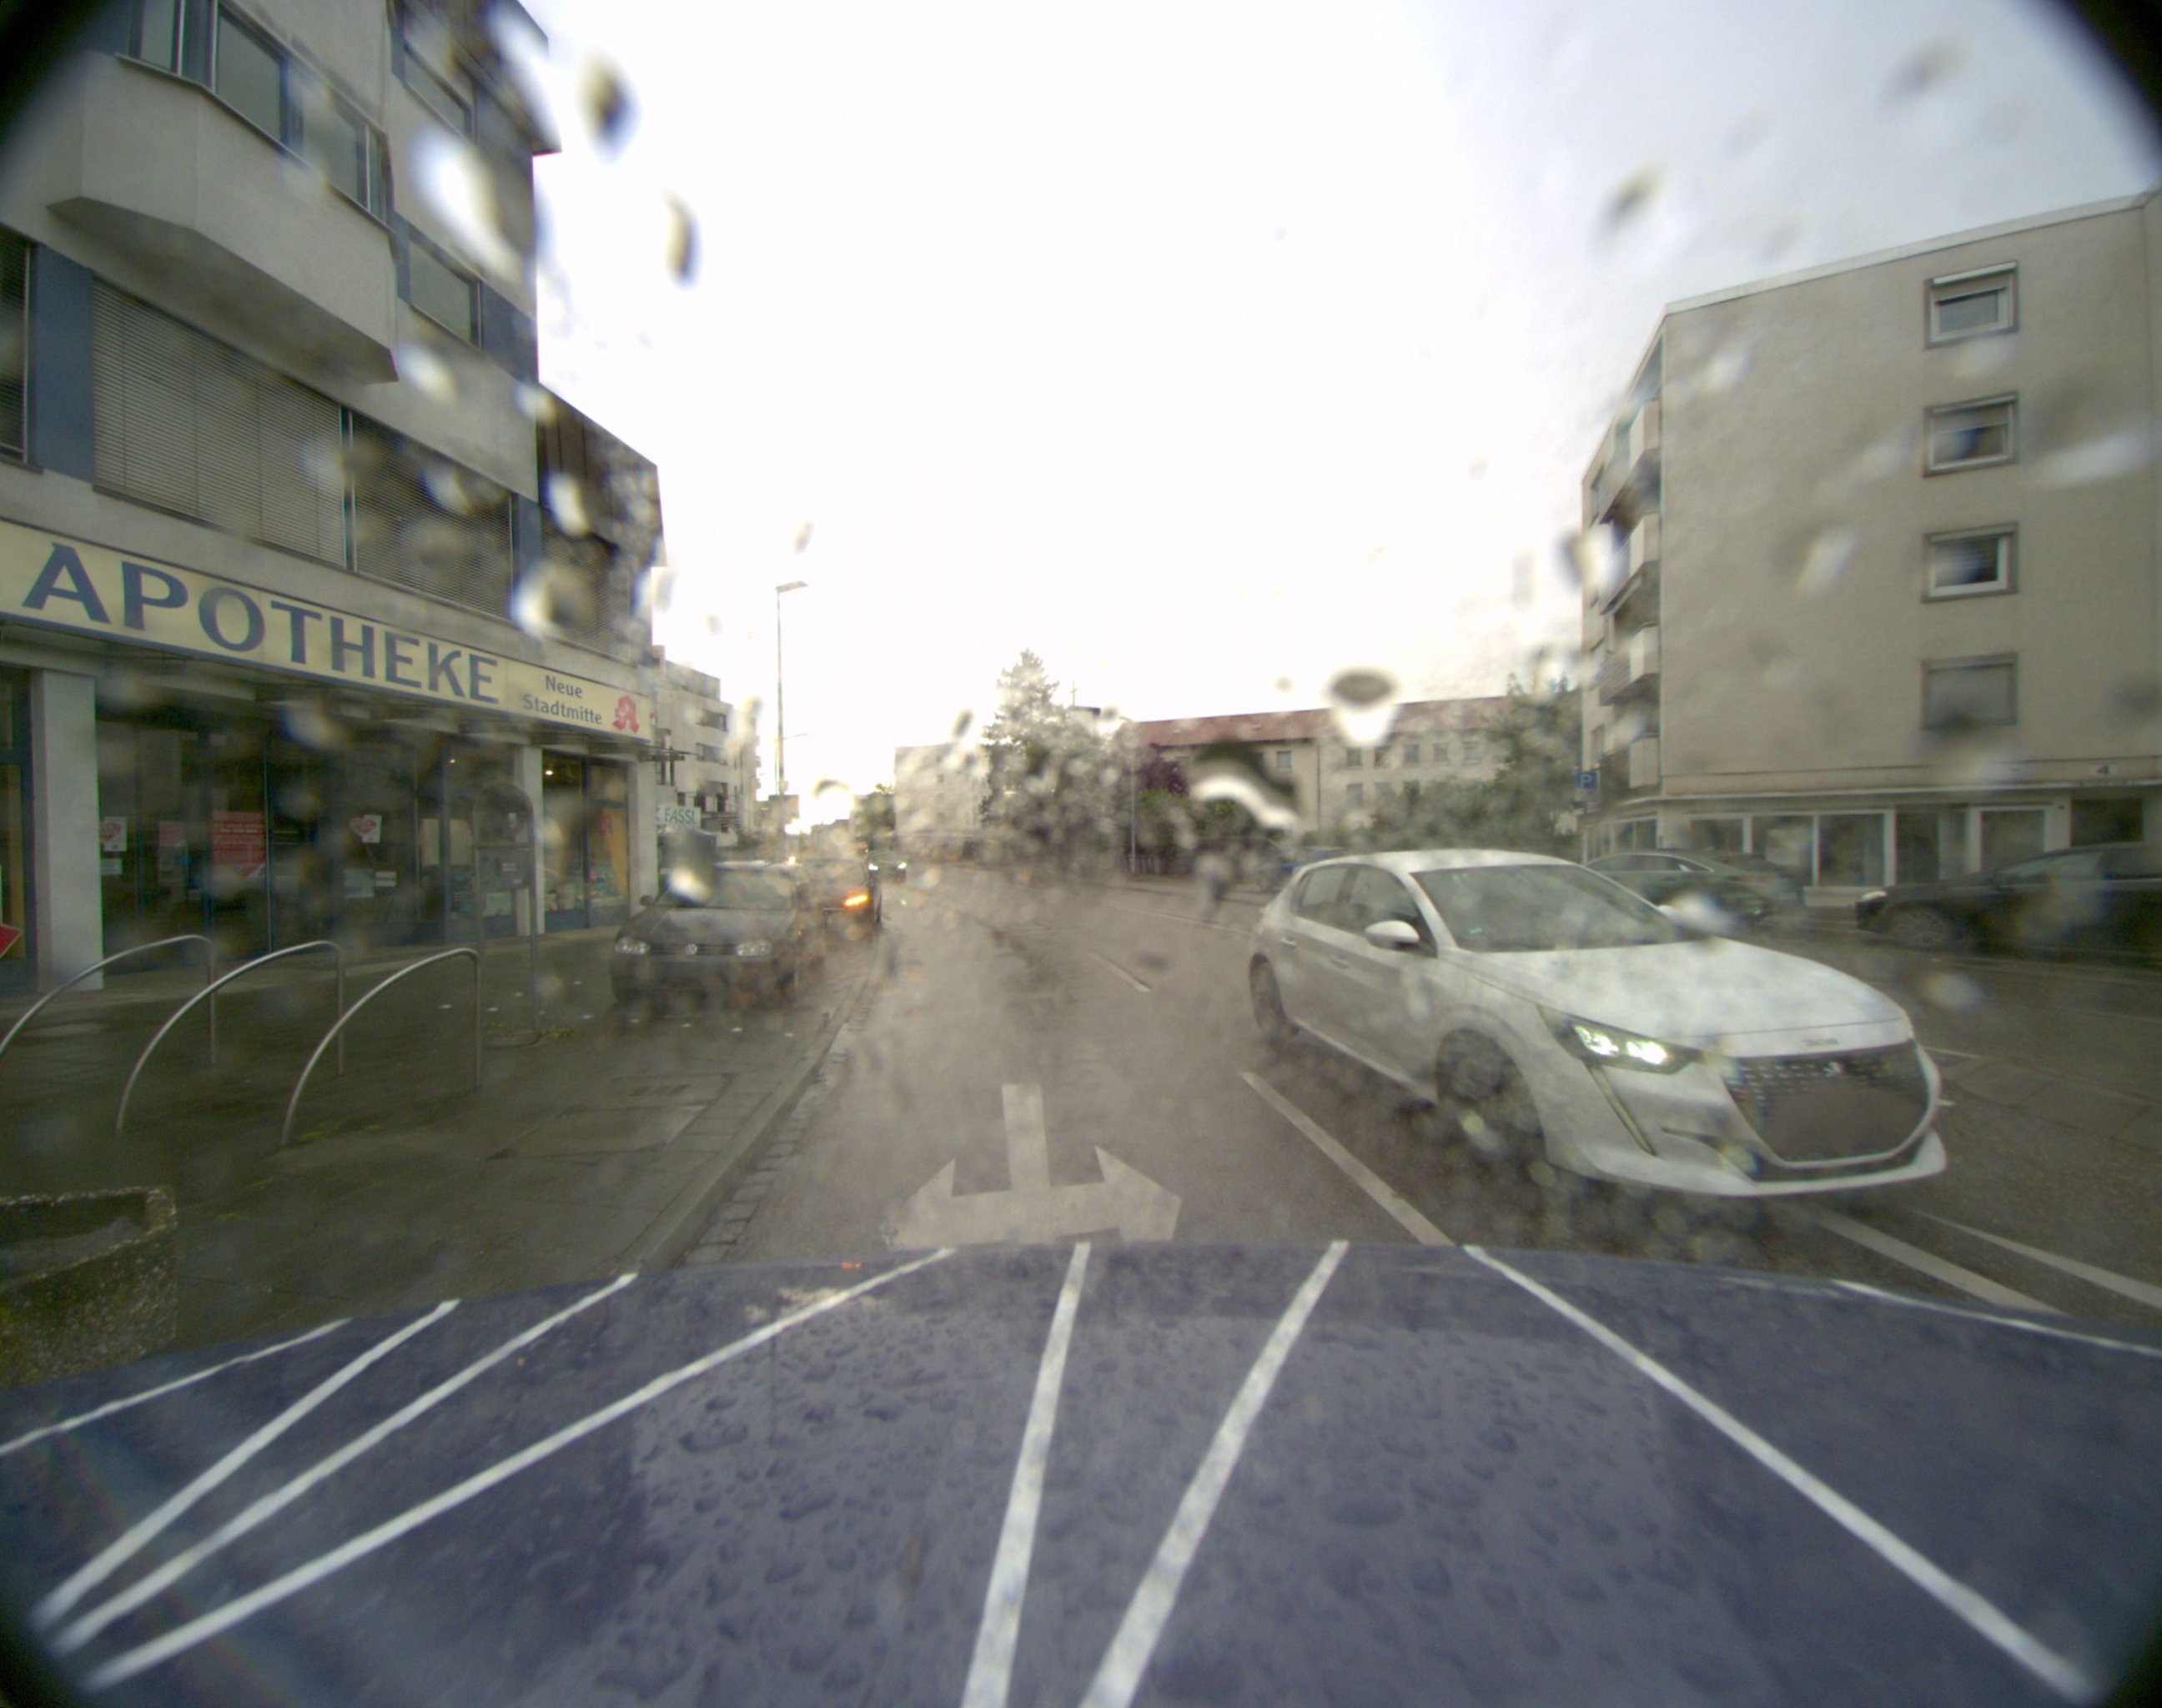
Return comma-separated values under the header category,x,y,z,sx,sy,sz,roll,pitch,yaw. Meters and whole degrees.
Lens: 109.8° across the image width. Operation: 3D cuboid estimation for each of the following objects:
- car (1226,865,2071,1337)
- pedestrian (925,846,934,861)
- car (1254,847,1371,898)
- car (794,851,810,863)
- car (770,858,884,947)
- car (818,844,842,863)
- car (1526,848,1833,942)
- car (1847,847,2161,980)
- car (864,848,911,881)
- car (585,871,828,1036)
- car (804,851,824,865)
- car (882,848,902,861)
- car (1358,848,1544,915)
category,x,y,z,sx,sy,sz,roll,pitch,yaw
car,2.412,0.837,4.537,1.744,1.401,3.892,-3,1,-10
pedestrian,-17.852,-0.055,89.364,0.857,1.726,0.834,-1,2,-29
car,7.423,0.534,24.777,1.636,1.497,3.873,-1,1,-20
car,-40.650,0.413,110.845,2.002,1.606,3.993,-3,1,-20
car,-4.806,0.826,14.851,1.660,1.416,3.995,-1,1,-12
car,-21.086,-0.044,63.738,1.736,1.519,4.056,-1,0,-21
car,11.141,0.644,14.565,1.839,1.426,4.266,-2,2,-21
car,12.917,0.672,9.598,1.839,1.451,4.180,-2,2,-21
car,-9.612,0.453,37.507,1.737,1.436,4.039,-2,2,-21
car,-4.009,0.949,8.780,1.656,1.364,3.727,1,0,-12
car,-29.757,0.431,84.621,1.804,1.361,3.964,-1,2,-24
car,-22.890,0.018,91.840,1.874,1.428,3.733,-1,1,-20
car,9.272,0.601,19.465,1.639,1.491,4.338,-1,1,-21
